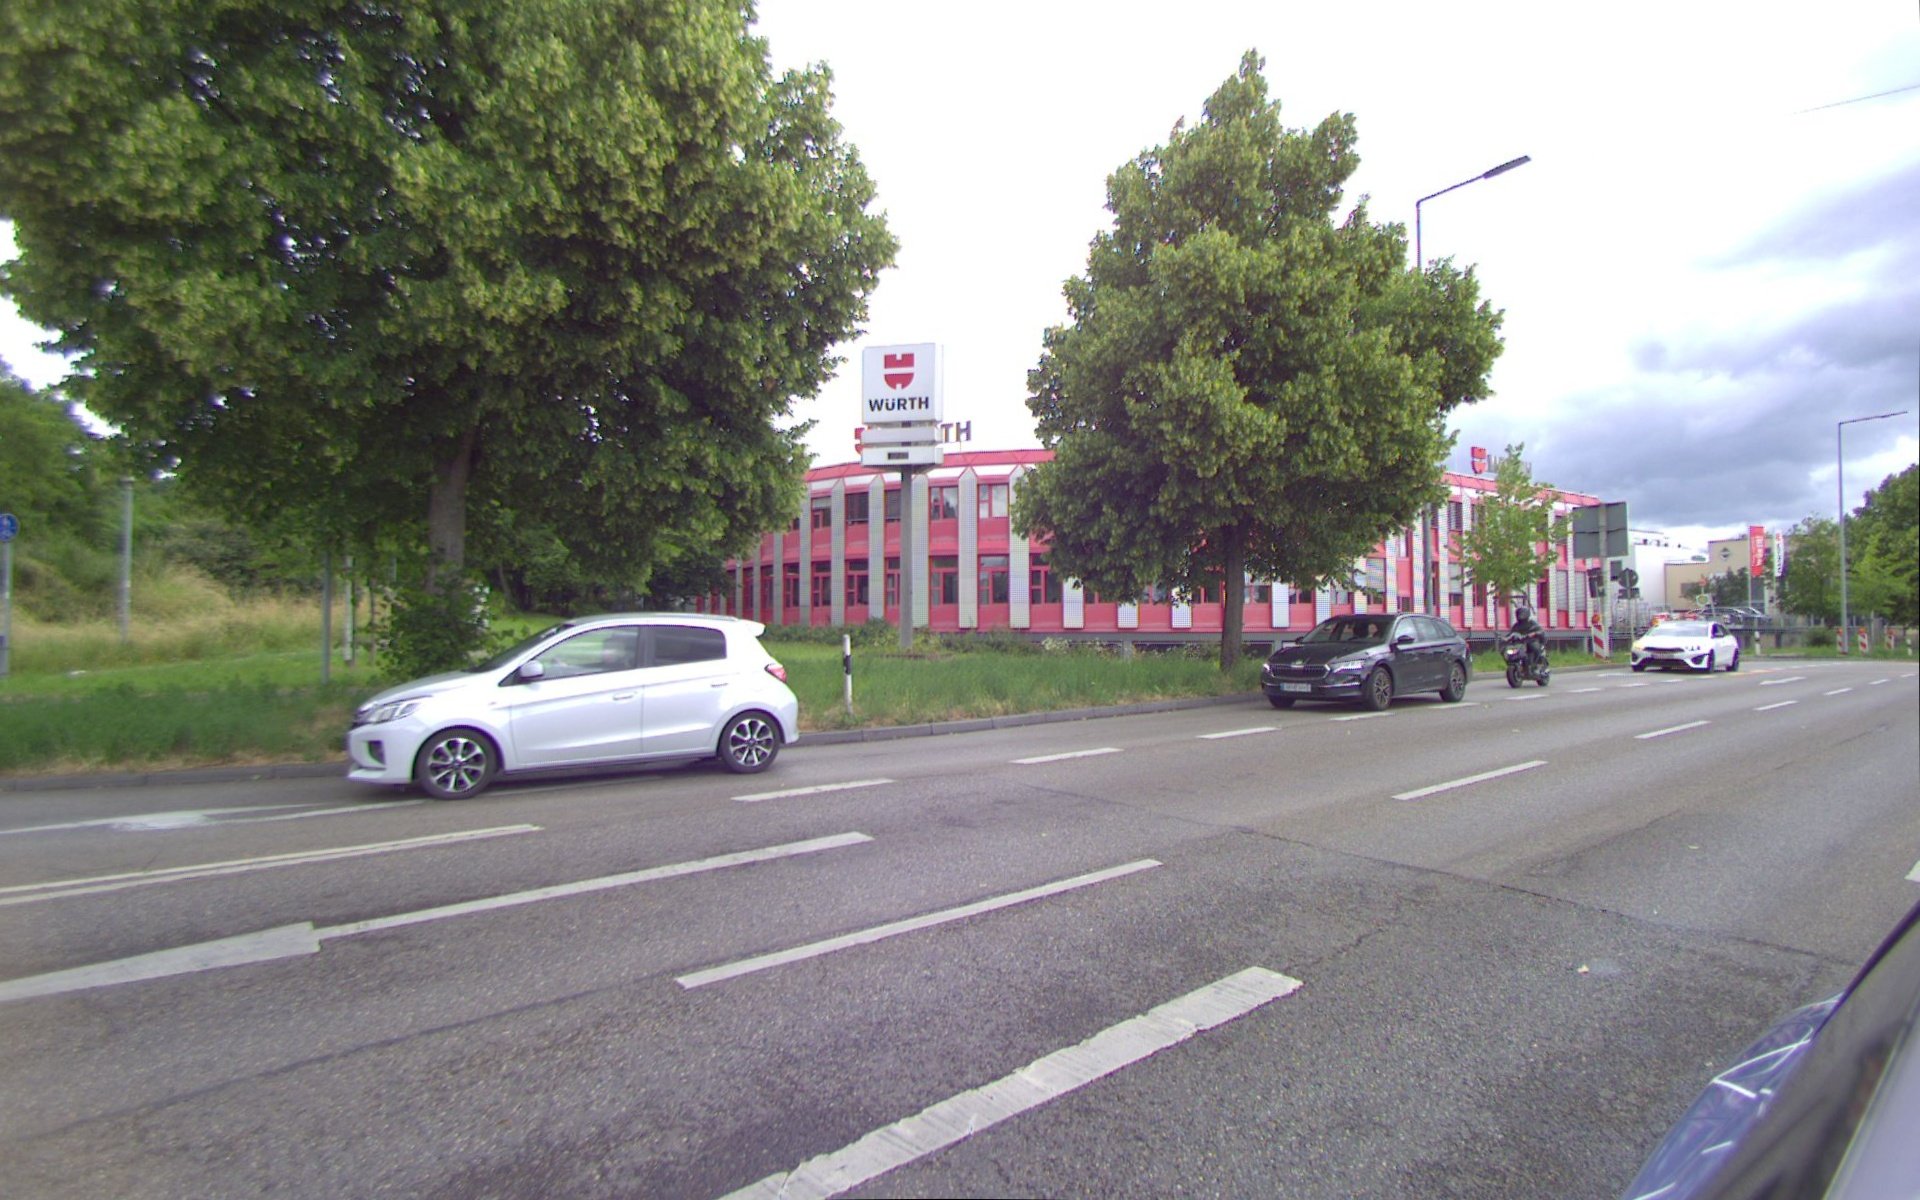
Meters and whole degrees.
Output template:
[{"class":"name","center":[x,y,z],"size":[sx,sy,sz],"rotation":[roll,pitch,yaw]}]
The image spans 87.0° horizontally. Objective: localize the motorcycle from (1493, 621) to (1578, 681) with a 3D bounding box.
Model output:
[{"class":"motorcycle","center":[11.666,1.009,20.489],"size":[1.906,1.162,0.750],"rotation":[1,-3,-36]}]

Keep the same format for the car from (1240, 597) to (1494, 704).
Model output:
[{"class":"car","center":[6.531,0.809,16.020],"size":[4.446,1.465,1.783],"rotation":[2,-5,-40]}]

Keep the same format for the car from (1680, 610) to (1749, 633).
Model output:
[{"class":"car","center":[61.806,1.697,82.950],"size":[1.752,1.776,4.247],"rotation":[0,0,-39]}]

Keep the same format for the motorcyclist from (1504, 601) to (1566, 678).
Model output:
[{"class":"motorcyclist","center":[11.619,0.792,20.466],"size":[0.916,1.510,0.750],"rotation":[1,-3,-36]}]

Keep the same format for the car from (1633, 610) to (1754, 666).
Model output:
[{"class":"car","center":[20.307,1.048,27.947],"size":[4.401,1.379,1.783],"rotation":[3,-1,-41]}]

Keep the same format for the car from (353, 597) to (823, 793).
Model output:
[{"class":"car","center":[-3.361,0.810,9.317],"size":[3.757,1.462,1.787],"rotation":[1,-5,-30]}]
